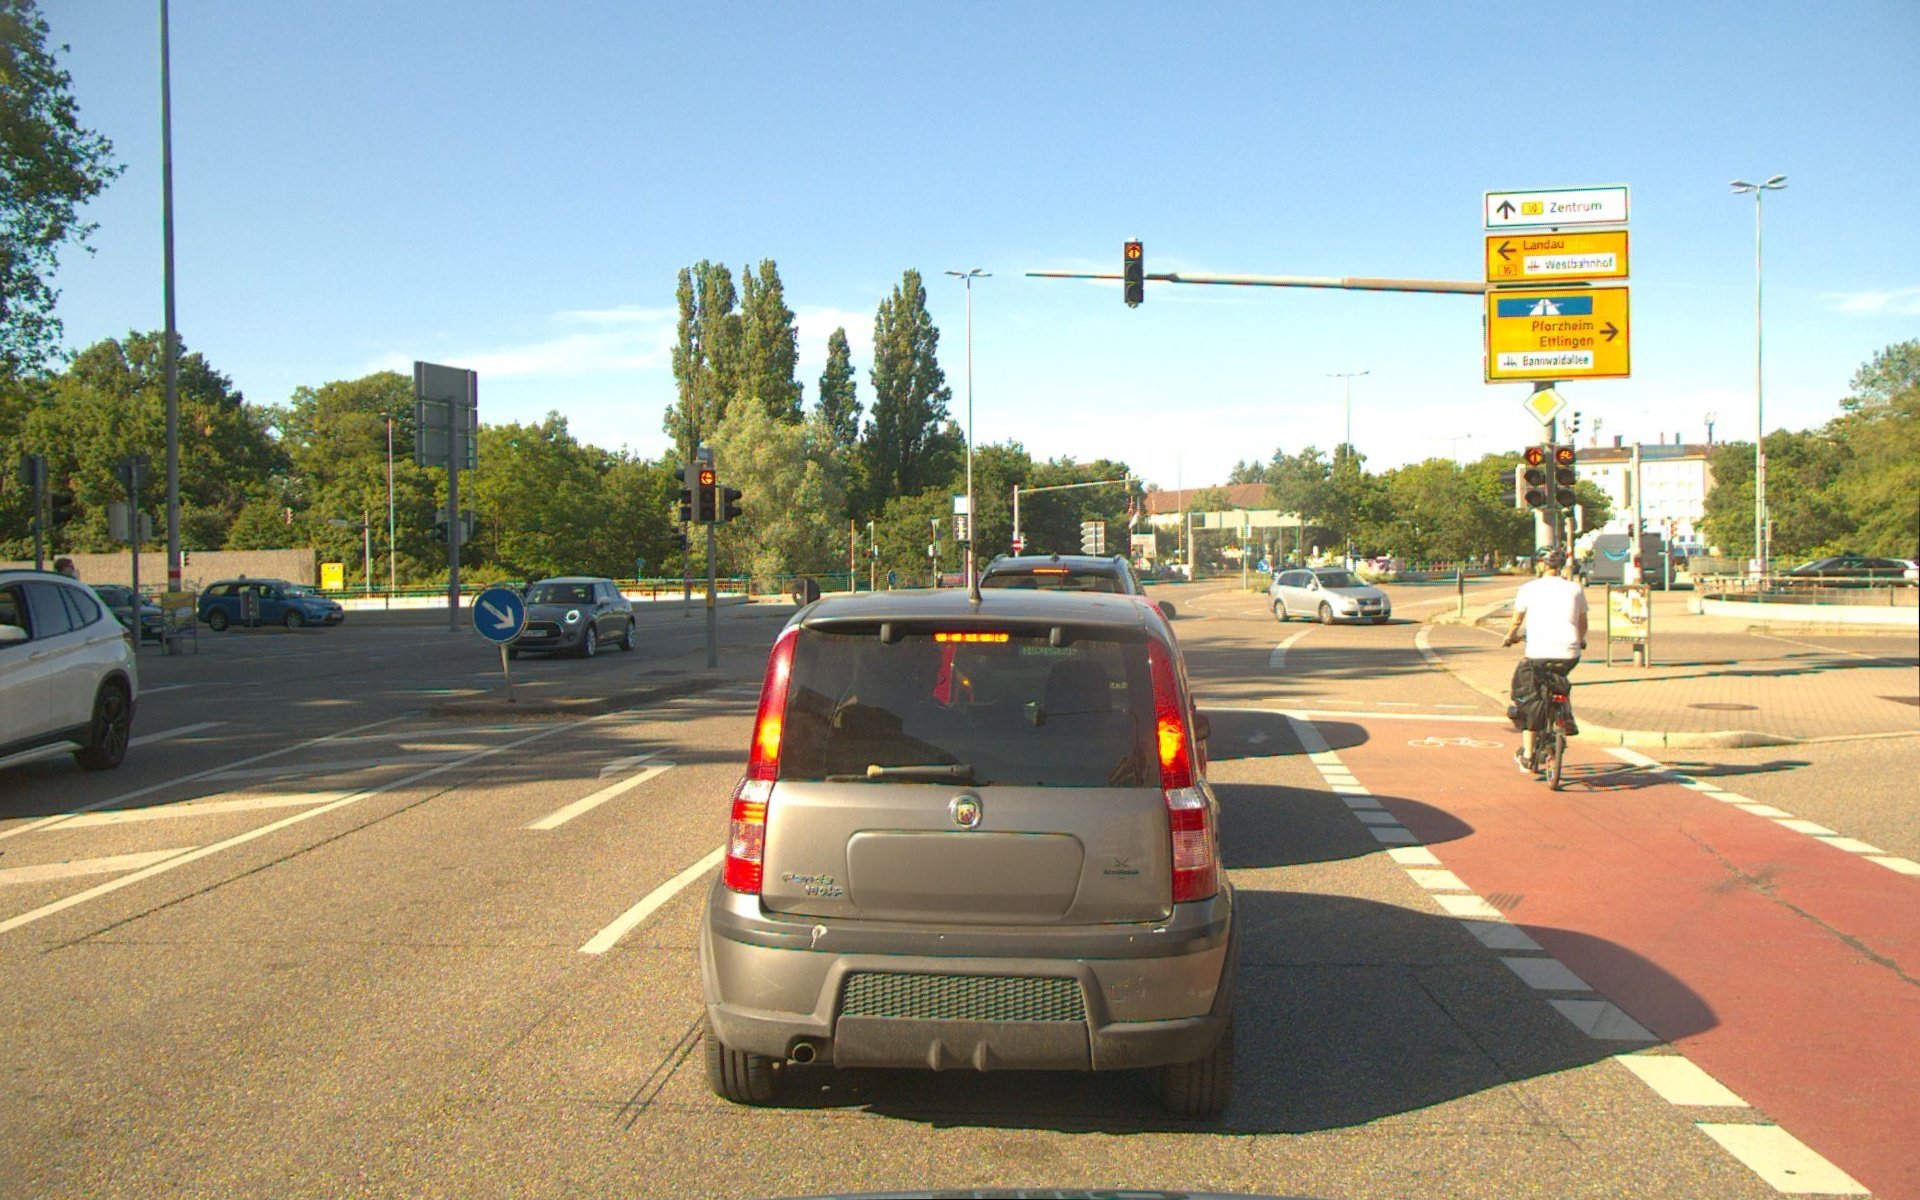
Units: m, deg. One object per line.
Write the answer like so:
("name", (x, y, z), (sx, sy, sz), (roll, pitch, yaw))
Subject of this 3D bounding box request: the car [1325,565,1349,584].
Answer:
("car", (40.188, -2.705, 176.131), (1.971, 1.887, 4.887), (0, -2, 20))

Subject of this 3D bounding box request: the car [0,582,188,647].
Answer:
("car", (-21.018, 0.359, 39.904), (4.345, 1.464, 1.826), (-1, 1, 22))

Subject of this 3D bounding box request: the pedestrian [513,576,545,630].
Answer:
("pedestrian", (-13.376, 0.107, 51.350), (0.673, 1.565, 1.365), (0, -4, -3))

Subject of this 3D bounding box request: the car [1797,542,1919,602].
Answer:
("car", (33.197, -0.993, 60.929), (3.922, 2.049, 1.991), (-1, -2, 38))

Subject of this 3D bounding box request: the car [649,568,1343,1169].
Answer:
("car", (0.184, 0.672, 6.342), (1.782, 1.515, 4.002), (2, 1, 3))

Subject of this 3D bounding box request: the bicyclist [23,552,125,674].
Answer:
("bicyclist", (-12.903, 0.171, 24.113), (0.672, 1.731, 1.199), (-1, 1, 12))

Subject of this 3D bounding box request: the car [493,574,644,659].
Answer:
("car", (-7.379, 0.269, 31.514), (1.650, 1.482, 3.916), (-1, 1, 5))

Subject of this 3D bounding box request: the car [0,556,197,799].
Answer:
("car", (-7.582, 0.576, 12.286), (1.797, 1.682, 4.626), (-1, -1, -2))

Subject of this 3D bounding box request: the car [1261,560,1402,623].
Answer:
("car", (9.855, -0.272, 44.217), (1.724, 1.519, 4.327), (-1, 2, -19))

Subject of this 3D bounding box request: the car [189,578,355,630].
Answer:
("car", (-20.710, 0.117, 49.841), (4.342, 1.464, 1.828), (-1, 1, 14))

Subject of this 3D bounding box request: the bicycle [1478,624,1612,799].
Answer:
("bicycle", (4.633, 0.811, 12.987), (0.783, 1.130, 2.401), (1, 2, 24))

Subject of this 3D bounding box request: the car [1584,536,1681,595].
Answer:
("car", (32.929, -1.641, 81.141), (2.212, 2.653, 4.876), (0, -1, -9))

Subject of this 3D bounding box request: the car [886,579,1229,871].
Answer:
("car", (0.586, 0.642, 10.705), (1.782, 1.505, 4.001), (1, 0, 2))

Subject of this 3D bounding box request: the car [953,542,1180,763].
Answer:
("car", (1.173, 0.394, 16.093), (1.829, 1.821, 4.418), (1, 1, 8))

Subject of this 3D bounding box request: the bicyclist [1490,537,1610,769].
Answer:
("bicyclist", (4.645, 0.376, 12.992), (0.783, 1.734, 1.085), (1, 2, 24))
